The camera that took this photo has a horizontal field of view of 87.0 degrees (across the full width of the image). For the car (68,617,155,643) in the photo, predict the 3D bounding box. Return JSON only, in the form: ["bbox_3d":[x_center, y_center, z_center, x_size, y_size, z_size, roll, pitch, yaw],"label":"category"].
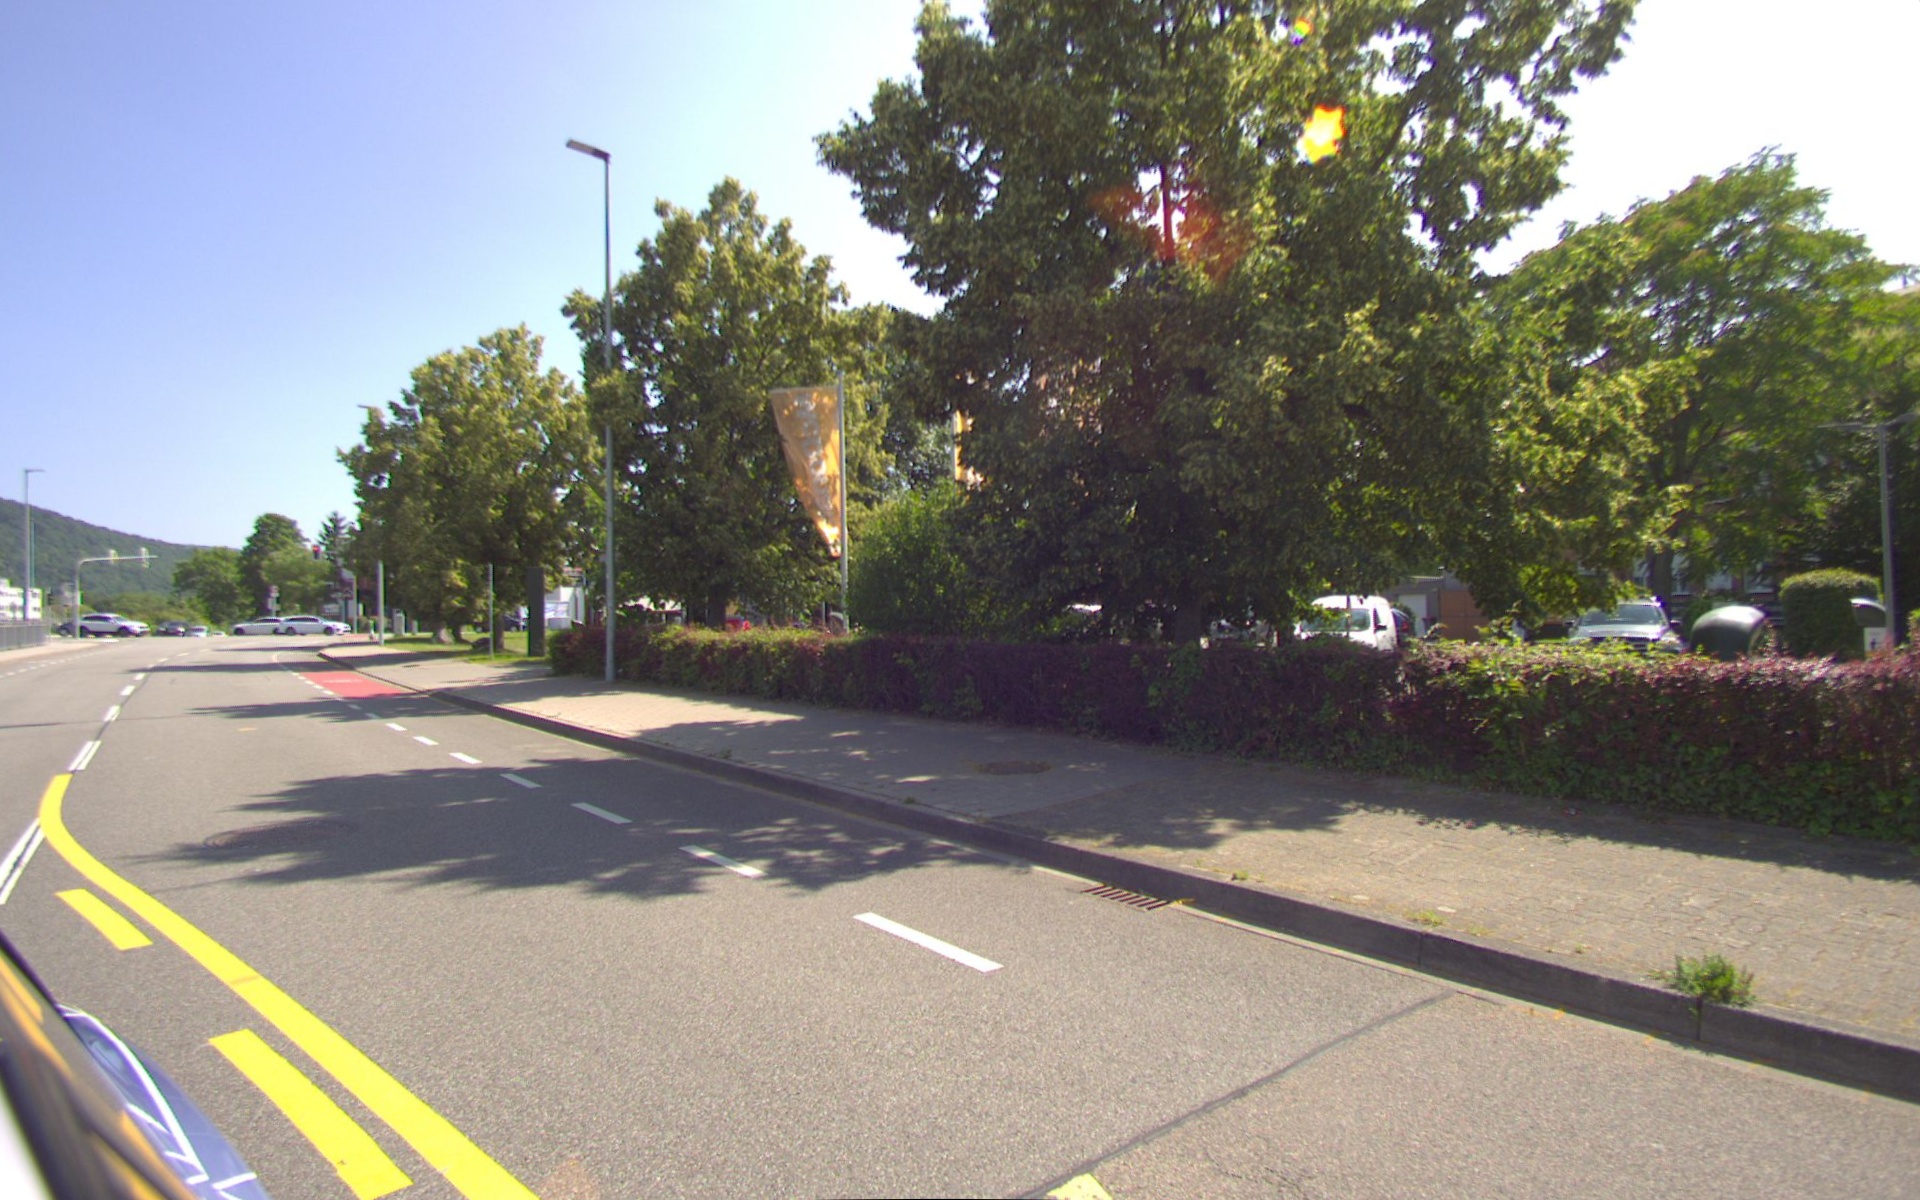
[{"bbox_3d":[-60.684,2.113,72.447,4.509,1.664,1.835,0,2,-7],"label":"car"}]

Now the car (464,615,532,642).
[{"bbox_3d":[-34.562,2.138,75.814,4.301,1.863,1.835,0,2,-8],"label":"car"}]

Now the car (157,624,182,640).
[{"bbox_3d":[-68.412,2.759,87.577,1.585,1.265,3.689,0,-1,-39],"label":"car"}]

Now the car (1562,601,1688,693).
[{"bbox_3d":[13.178,0.857,20.115,1.900,1.595,3.768,-1,0,33],"label":"car"}]

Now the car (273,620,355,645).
[{"bbox_3d":[-47.045,2.356,73.759,4.693,1.664,1.835,0,2,-7],"label":"car"}]

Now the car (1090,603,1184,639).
[{"bbox_3d":[8.242,0.992,47.413,3.938,1.606,1.930,-1,-1,-5],"label":"car"}]

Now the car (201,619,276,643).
[{"bbox_3d":[-55.360,2.384,77.674,4.299,1.638,1.836,-1,2,-10],"label":"car"}]

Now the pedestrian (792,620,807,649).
[{"bbox_3d":[-7.365,1.574,46.550,0.544,1.219,0.593,-5,3,-5],"label":"pedestrian"}]

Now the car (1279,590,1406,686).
[{"bbox_3d":[8.300,0.771,21.734,1.743,1.841,4.307,-2,-1,31],"label":"car"}]

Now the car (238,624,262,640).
[{"bbox_3d":[-68.228,3.057,97.196,1.585,1.547,3.689,0,-1,-39],"label":"car"}]

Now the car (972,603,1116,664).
[{"bbox_3d":[2.662,1.065,32.169,4.209,1.812,1.743,-1,0,29],"label":"car"}]

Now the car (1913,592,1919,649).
[{"bbox_3d":[27.255,0.562,27.323,1.817,1.588,3.821,-1,0,38],"label":"car"}]

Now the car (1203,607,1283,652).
[{"bbox_3d":[10.537,1.060,37.580,1.618,1.543,3.567,-1,0,38],"label":"car"}]

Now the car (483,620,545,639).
[{"bbox_3d":[-35.908,2.380,81.601,4.299,1.356,1.836,-1,2,-10],"label":"car"}]

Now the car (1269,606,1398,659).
[{"bbox_3d":[12.484,1.079,33.944,3.719,1.644,1.648,-1,0,38],"label":"car"}]

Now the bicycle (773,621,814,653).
[{"bbox_3d":[-6.749,1.501,41.163,1.587,1.195,0.310,-3,2,-7],"label":"bicycle"}]

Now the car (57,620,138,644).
[{"bbox_3d":[-64.694,2.400,75.975,4.299,1.638,1.836,-1,2,-11],"label":"car"}]

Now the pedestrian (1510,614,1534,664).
[{"bbox_3d":[17.019,1.186,30.638,0.495,1.471,0.544,-2,1,40],"label":"pedestrian"}]
